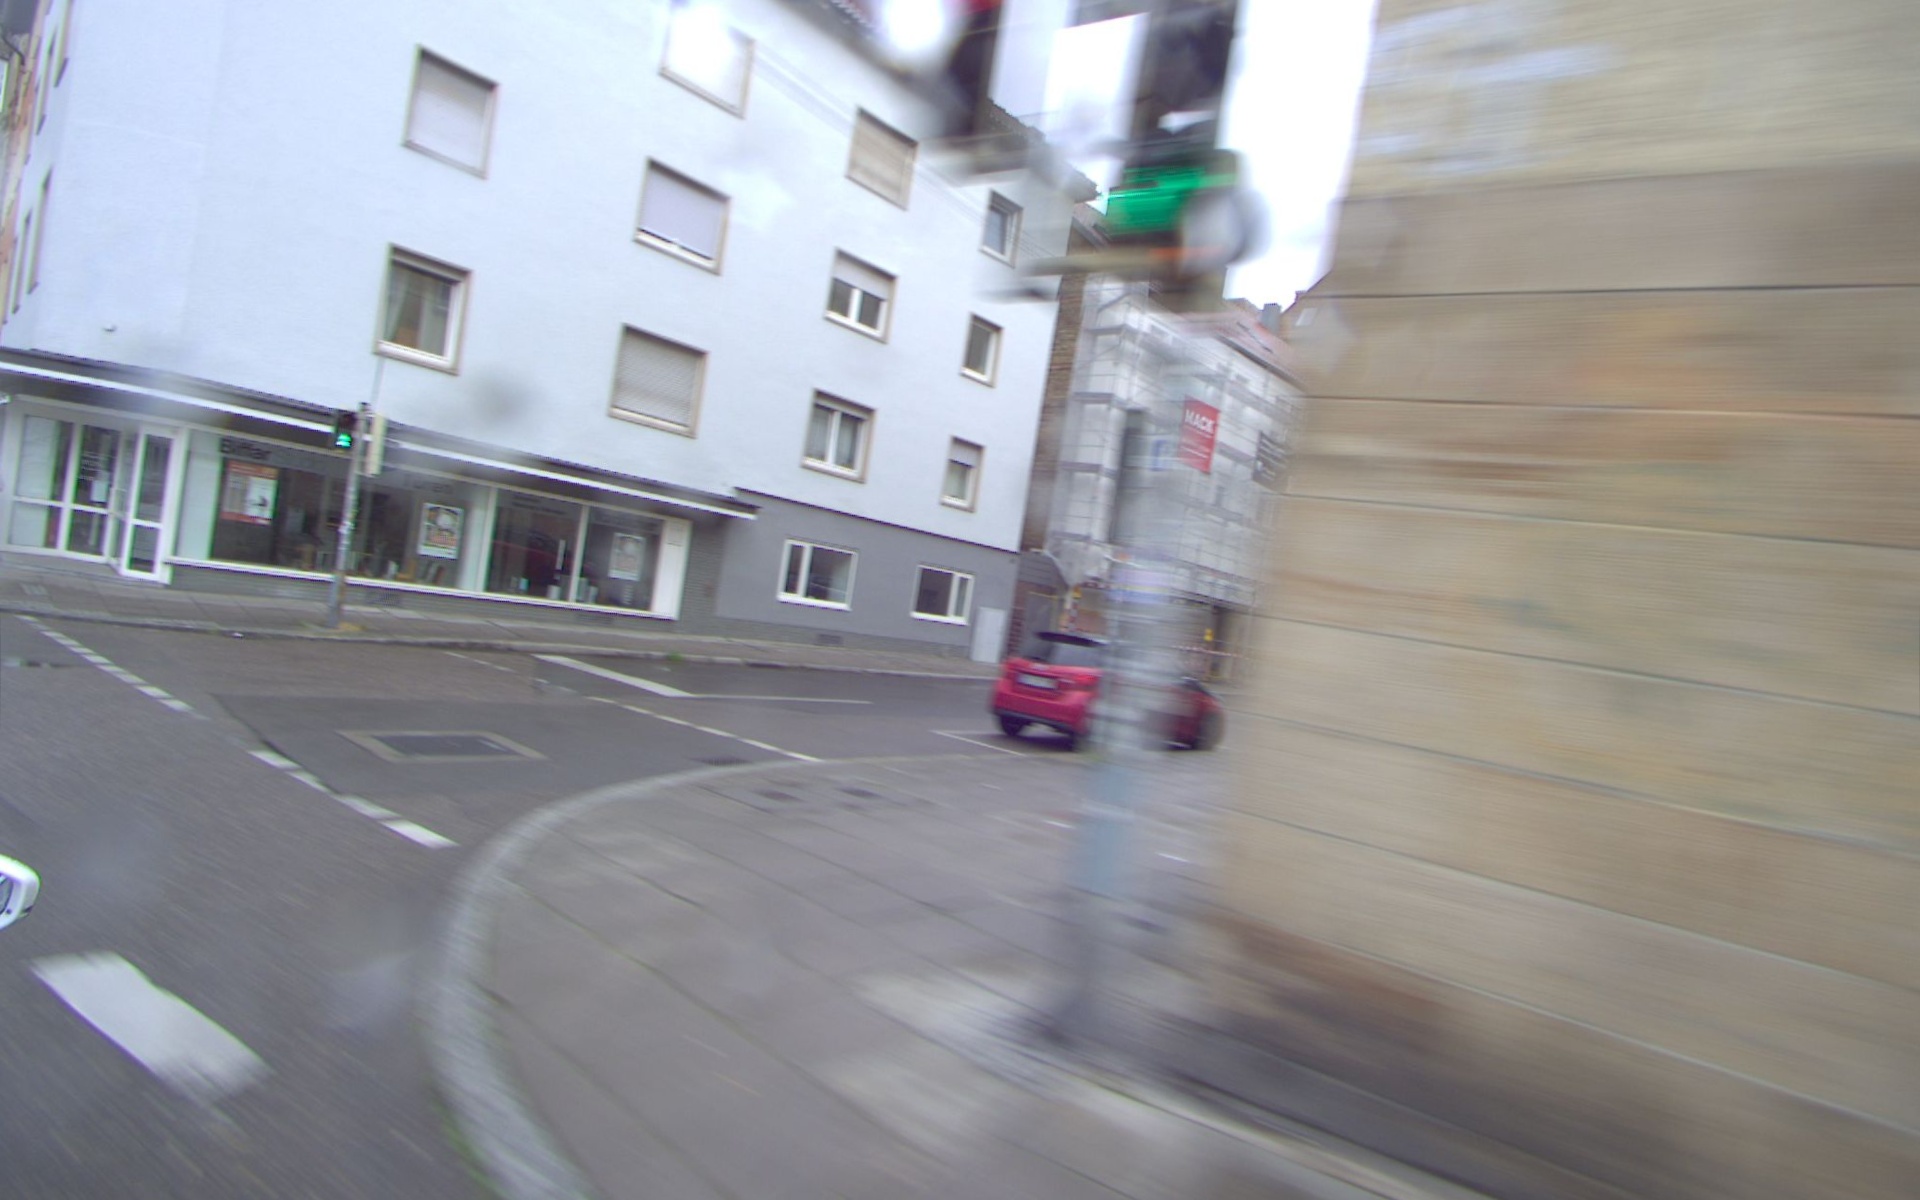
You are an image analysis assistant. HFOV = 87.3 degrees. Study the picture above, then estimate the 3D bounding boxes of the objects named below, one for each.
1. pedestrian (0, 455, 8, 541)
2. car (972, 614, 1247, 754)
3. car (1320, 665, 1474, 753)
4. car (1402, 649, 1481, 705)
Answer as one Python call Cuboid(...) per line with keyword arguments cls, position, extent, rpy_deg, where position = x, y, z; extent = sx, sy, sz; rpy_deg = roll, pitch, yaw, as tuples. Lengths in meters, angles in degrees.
Cuboid(cls="pedestrian", position=(-13.717, -1.247, 13.801), extent=(0.750, 1.592, 0.688), rpy_deg=(7, 1, 32))
Cuboid(cls="car", position=(2.168, 1.151, 13.915), extent=(1.743, 1.538, 3.838), rpy_deg=(6, 0, 45))
Cuboid(cls="car", position=(9.438, 2.297, 21.585), extent=(1.808, 1.474, 3.842), rpy_deg=(7, 1, 42))
Cuboid(cls="car", position=(20.973, 3.367, 43.742), extent=(1.808, 2.097, 4.308), rpy_deg=(6, 0, 42))
